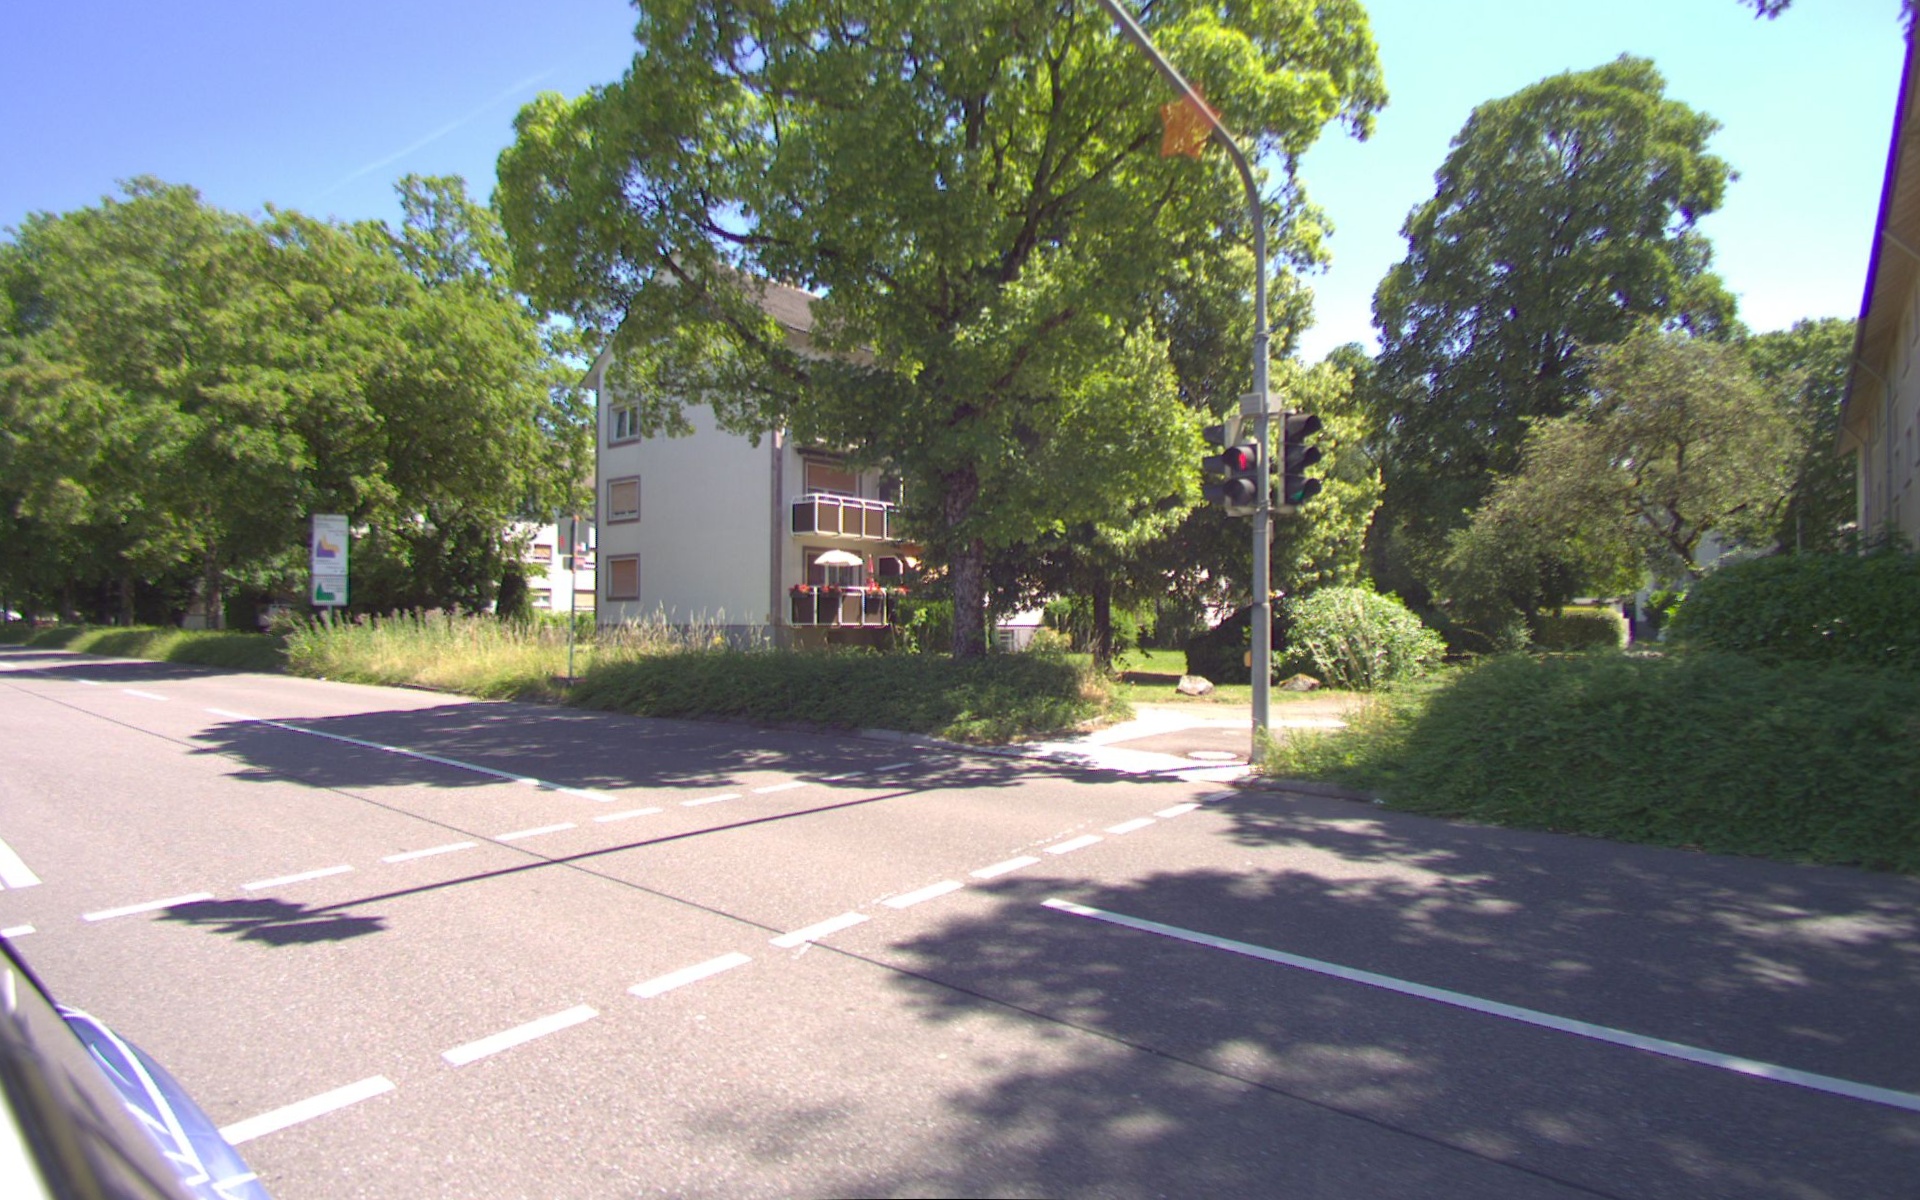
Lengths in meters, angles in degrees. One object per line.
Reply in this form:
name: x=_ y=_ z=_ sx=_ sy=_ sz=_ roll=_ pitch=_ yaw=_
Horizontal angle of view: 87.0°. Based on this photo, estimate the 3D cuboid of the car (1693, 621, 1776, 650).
car: x=42.081 y=1.920 z=55.018 sx=3.403 sy=1.518 sz=1.661 roll=-2 pitch=-1 yaw=45

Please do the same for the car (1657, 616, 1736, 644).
car: x=44.090 y=1.805 z=60.617 sx=3.636 sy=1.592 sz=1.697 roll=-2 pitch=-1 yaw=41
